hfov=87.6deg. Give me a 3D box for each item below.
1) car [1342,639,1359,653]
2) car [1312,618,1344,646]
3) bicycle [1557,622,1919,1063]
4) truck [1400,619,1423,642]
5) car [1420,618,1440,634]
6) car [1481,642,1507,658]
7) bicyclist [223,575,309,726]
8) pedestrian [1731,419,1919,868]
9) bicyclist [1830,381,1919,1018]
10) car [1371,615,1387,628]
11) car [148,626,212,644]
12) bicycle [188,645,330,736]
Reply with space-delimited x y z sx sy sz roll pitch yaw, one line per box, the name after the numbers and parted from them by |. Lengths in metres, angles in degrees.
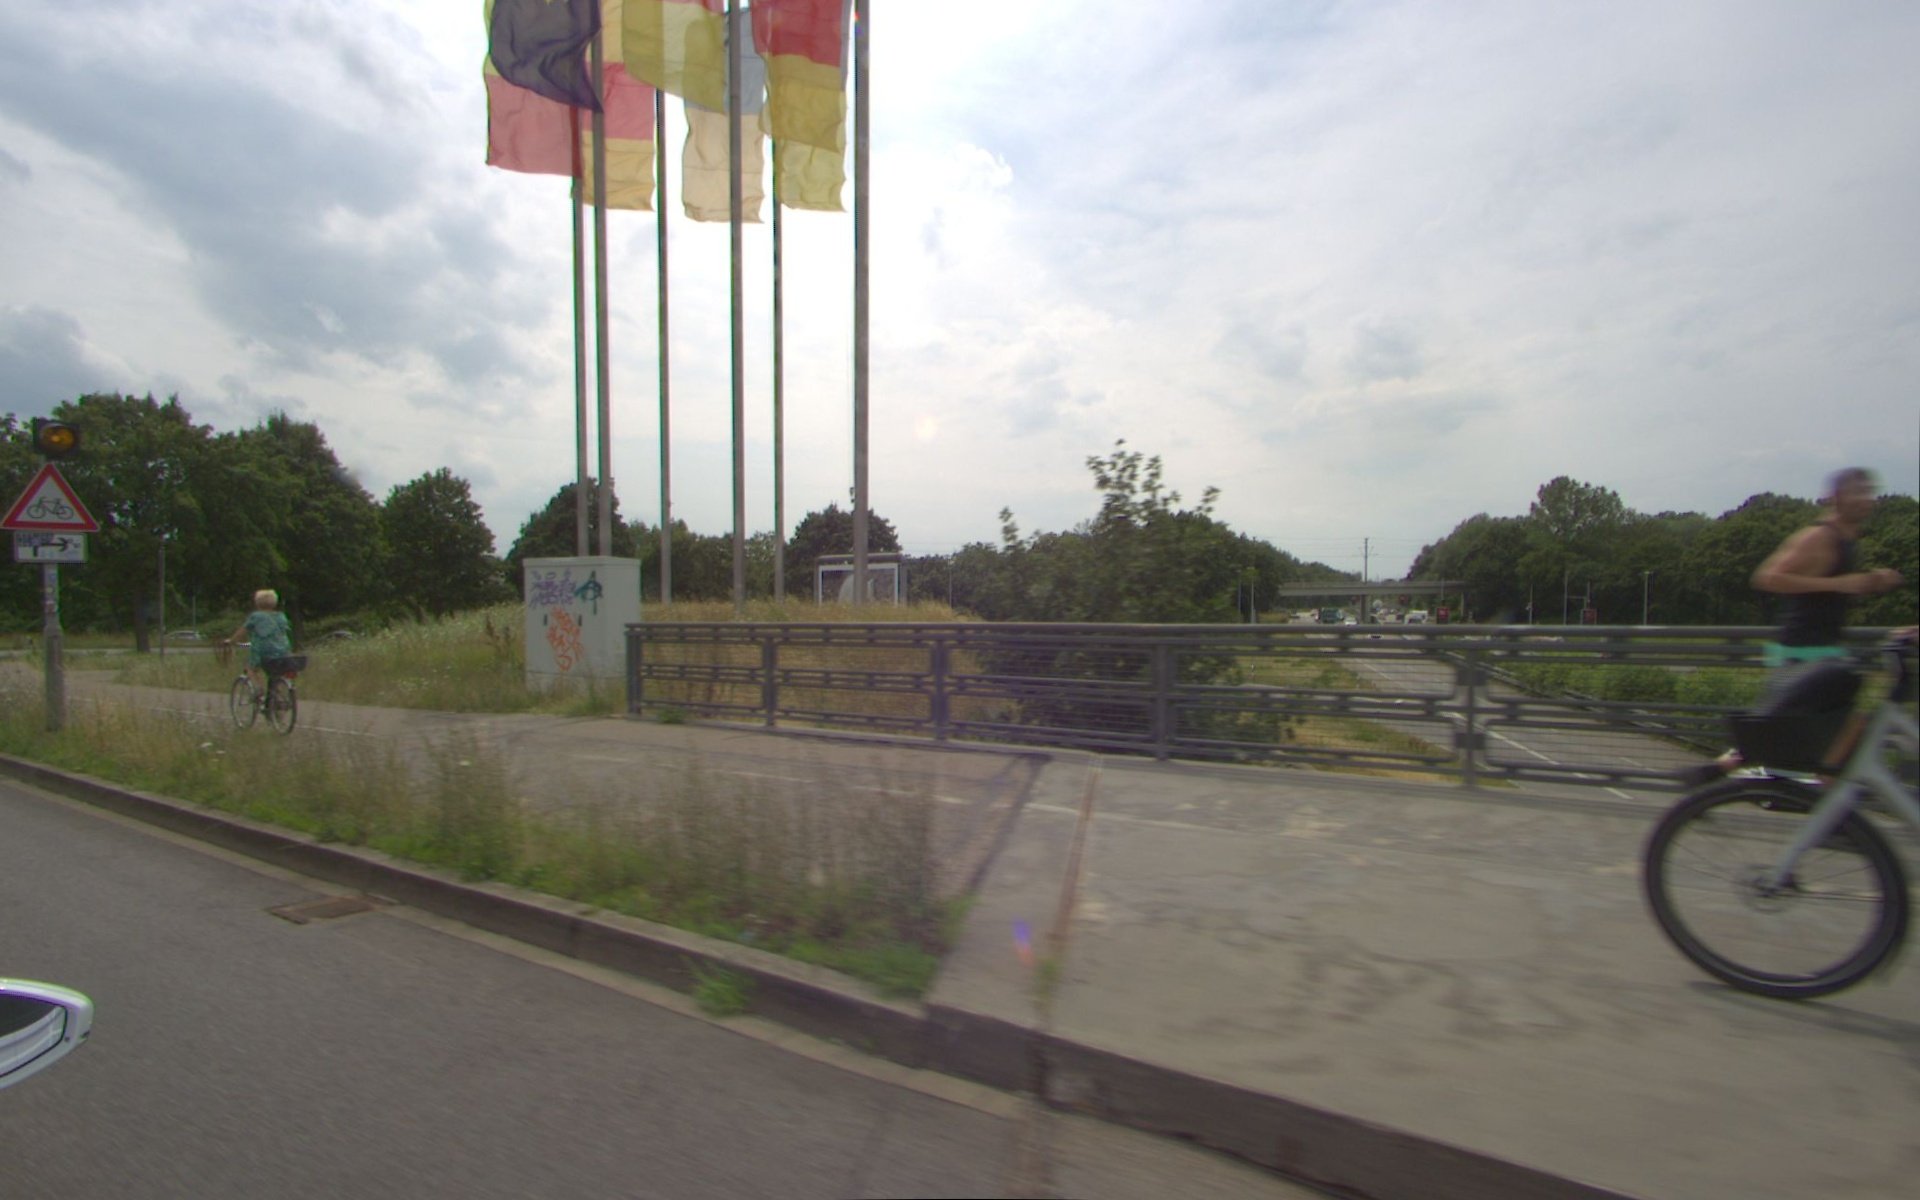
47.465 5.566 121.757 1.663 1.566 3.994 1 0 17 | car
56.365 4.831 153.460 3.281 3.948 7.506 1 0 10 | car
3.161 0.694 2.906 2.426 1.208 0.692 0 1 33 | bicycle
65.585 4.383 145.503 1.962 3.192 4.377 0 1 10 | truck
77.823 4.227 165.971 2.043 2.524 4.358 1 0 13 | car
62.201 5.798 116.715 1.964 1.606 3.992 0 1 18 | car
-8.072 0.563 11.648 0.659 1.688 0.620 1 1 32 | bicyclist
4.293 0.198 4.974 0.658 2.040 0.625 1 1 34 | pedestrian
3.216 0.282 2.862 0.977 1.779 0.701 1 1 33 | bicyclist
83.000 4.283 198.426 2.043 2.524 4.358 1 0 13 | car
-66.129 2.967 84.946 3.929 1.483 1.769 1 0 -16 | car
-8.257 1.028 11.766 2.123 0.900 0.622 1 1 33 | bicycle
